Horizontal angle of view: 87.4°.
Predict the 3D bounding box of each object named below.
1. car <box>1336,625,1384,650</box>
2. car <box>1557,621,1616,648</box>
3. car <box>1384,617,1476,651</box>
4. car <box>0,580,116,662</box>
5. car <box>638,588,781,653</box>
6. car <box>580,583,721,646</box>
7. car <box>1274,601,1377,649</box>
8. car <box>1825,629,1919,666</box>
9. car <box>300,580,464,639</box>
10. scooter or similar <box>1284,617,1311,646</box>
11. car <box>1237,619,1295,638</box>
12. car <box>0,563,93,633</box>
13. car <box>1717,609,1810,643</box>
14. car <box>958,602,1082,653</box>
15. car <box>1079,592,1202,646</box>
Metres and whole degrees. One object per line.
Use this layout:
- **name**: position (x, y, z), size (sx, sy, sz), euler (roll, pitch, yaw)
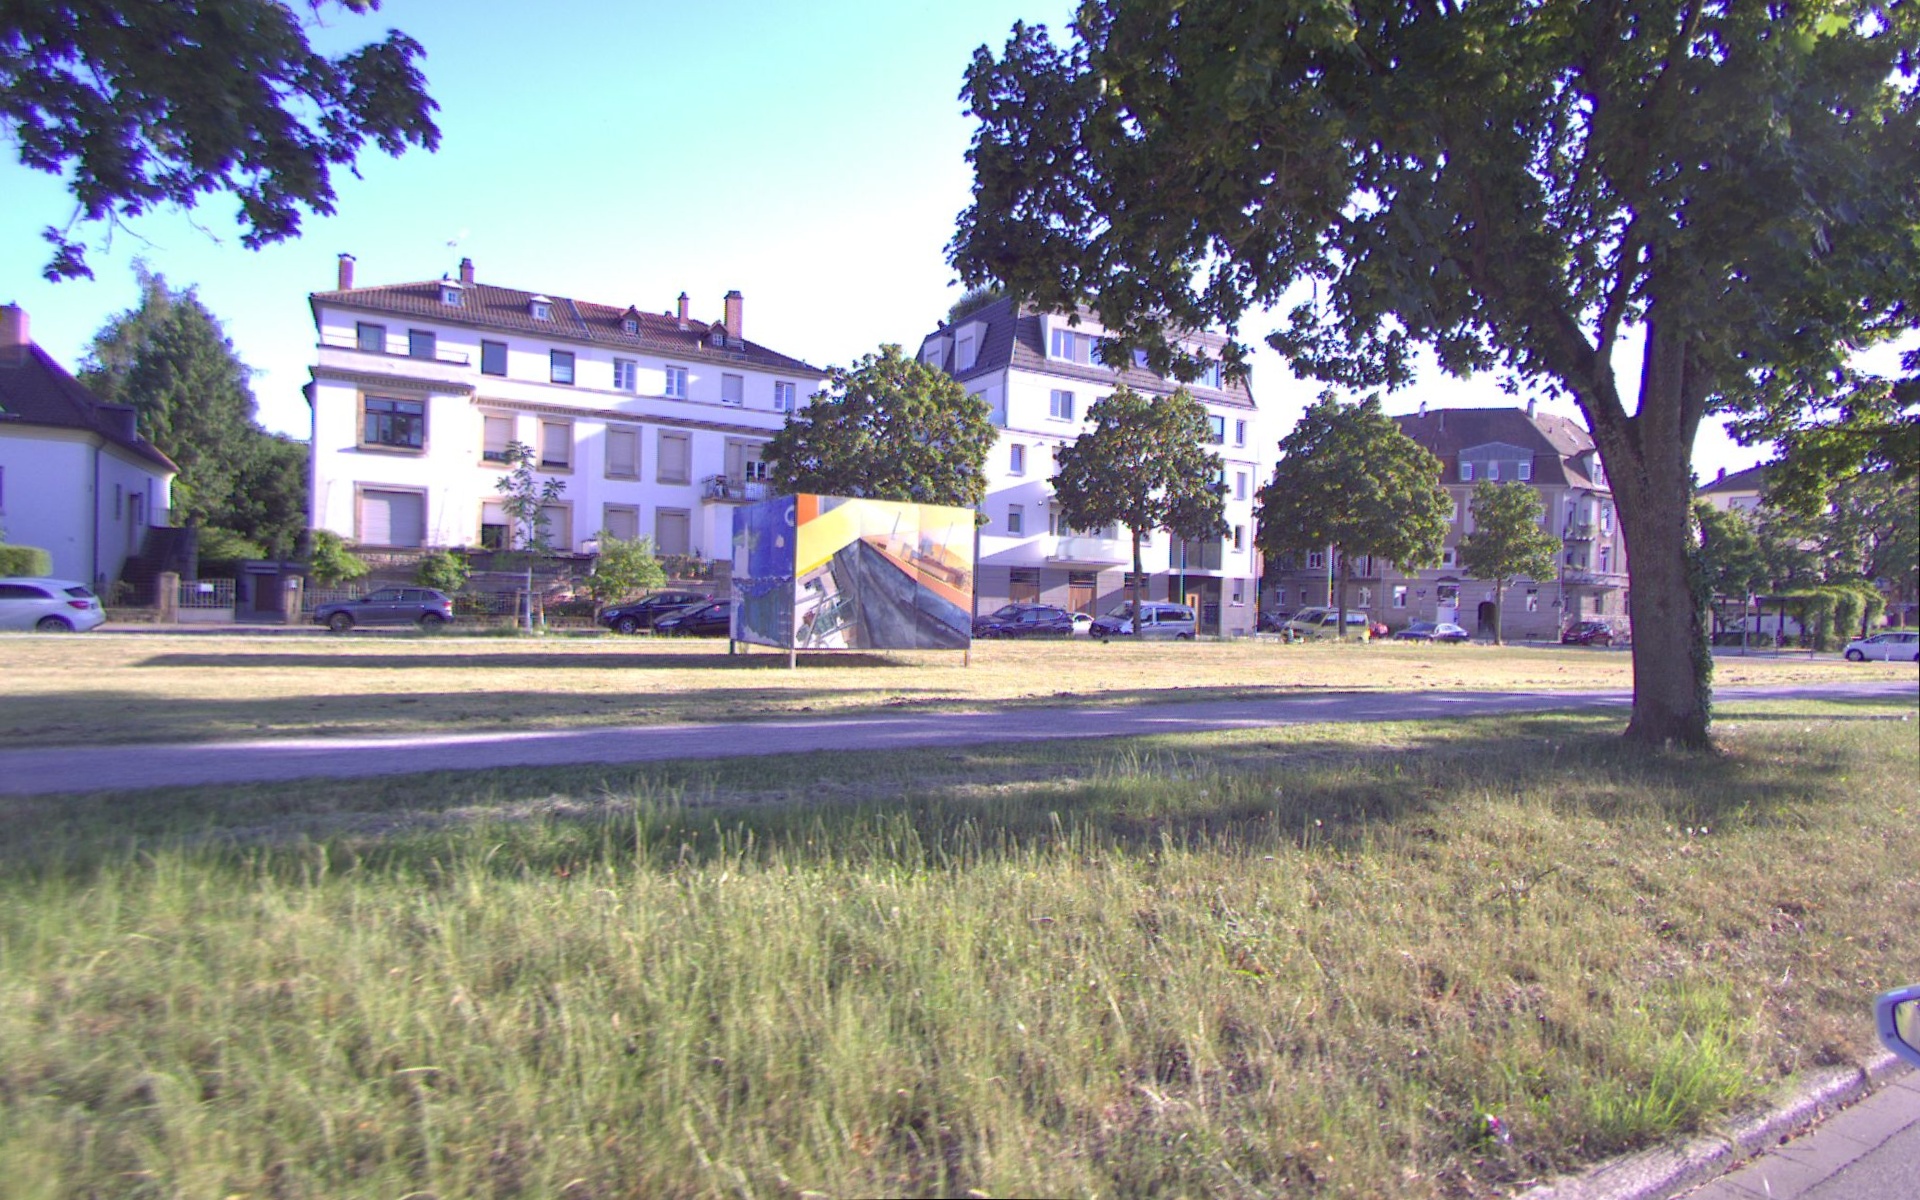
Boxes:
- **car**: position (27.306, 2.564, 68.705), size (1.652, 1.501, 3.594), euler (1, 1, -3)
- **car**: position (44.040, 2.442, 70.618), size (4.241, 1.729, 1.637), euler (3, -4, -29)
- **car**: position (24.907, 1.837, 53.247), size (4.769, 1.658, 1.976), euler (3, -4, -28)
- **car**: position (-23.832, 0.512, 24.520), size (4.586, 1.924, 1.826), euler (3, -4, -29)
- **car**: position (-8.383, 0.745, 33.698), size (4.277, 1.941, 1.881), euler (3, -4, -30)
- **car**: position (-11.862, 0.632, 38.599), size (4.795, 2.158, 2.229), euler (3, -4, -29)
- **car**: position (17.774, 1.259, 48.787), size (4.992, 2.084, 1.985), euler (3, -4, -30)
- **car**: position (42.801, 2.227, 46.441), size (1.979, 1.616, 3.872), euler (3, -4, -32)
- **car**: position (-19.331, 0.374, 33.796), size (4.612, 1.724, 1.774), euler (3, -4, -30)
- **scooter or similar**: position (13.993, 1.315, 41.663), size (1.285, 1.142, 0.389), euler (2, 1, -38)
- **car**: position (21.811, 1.999, 71.746), size (1.674, 1.235, 3.969), euler (2, -1, -29)
- **car**: position (-28.165, -0.084, 28.814), size (4.659, 1.878, 1.722), euler (3, -4, -30)
- **car**: position (71.725, 2.278, 89.849), size (6.203, 2.756, 1.999), euler (1, 0, 31)
- **car**: position (2.418, 1.138, 39.792), size (4.636, 1.851, 1.920), euler (3, -4, -30)
- **car**: position (7.808, 0.879, 43.193), size (5.315, 2.027, 2.007), euler (3, -4, -33)
